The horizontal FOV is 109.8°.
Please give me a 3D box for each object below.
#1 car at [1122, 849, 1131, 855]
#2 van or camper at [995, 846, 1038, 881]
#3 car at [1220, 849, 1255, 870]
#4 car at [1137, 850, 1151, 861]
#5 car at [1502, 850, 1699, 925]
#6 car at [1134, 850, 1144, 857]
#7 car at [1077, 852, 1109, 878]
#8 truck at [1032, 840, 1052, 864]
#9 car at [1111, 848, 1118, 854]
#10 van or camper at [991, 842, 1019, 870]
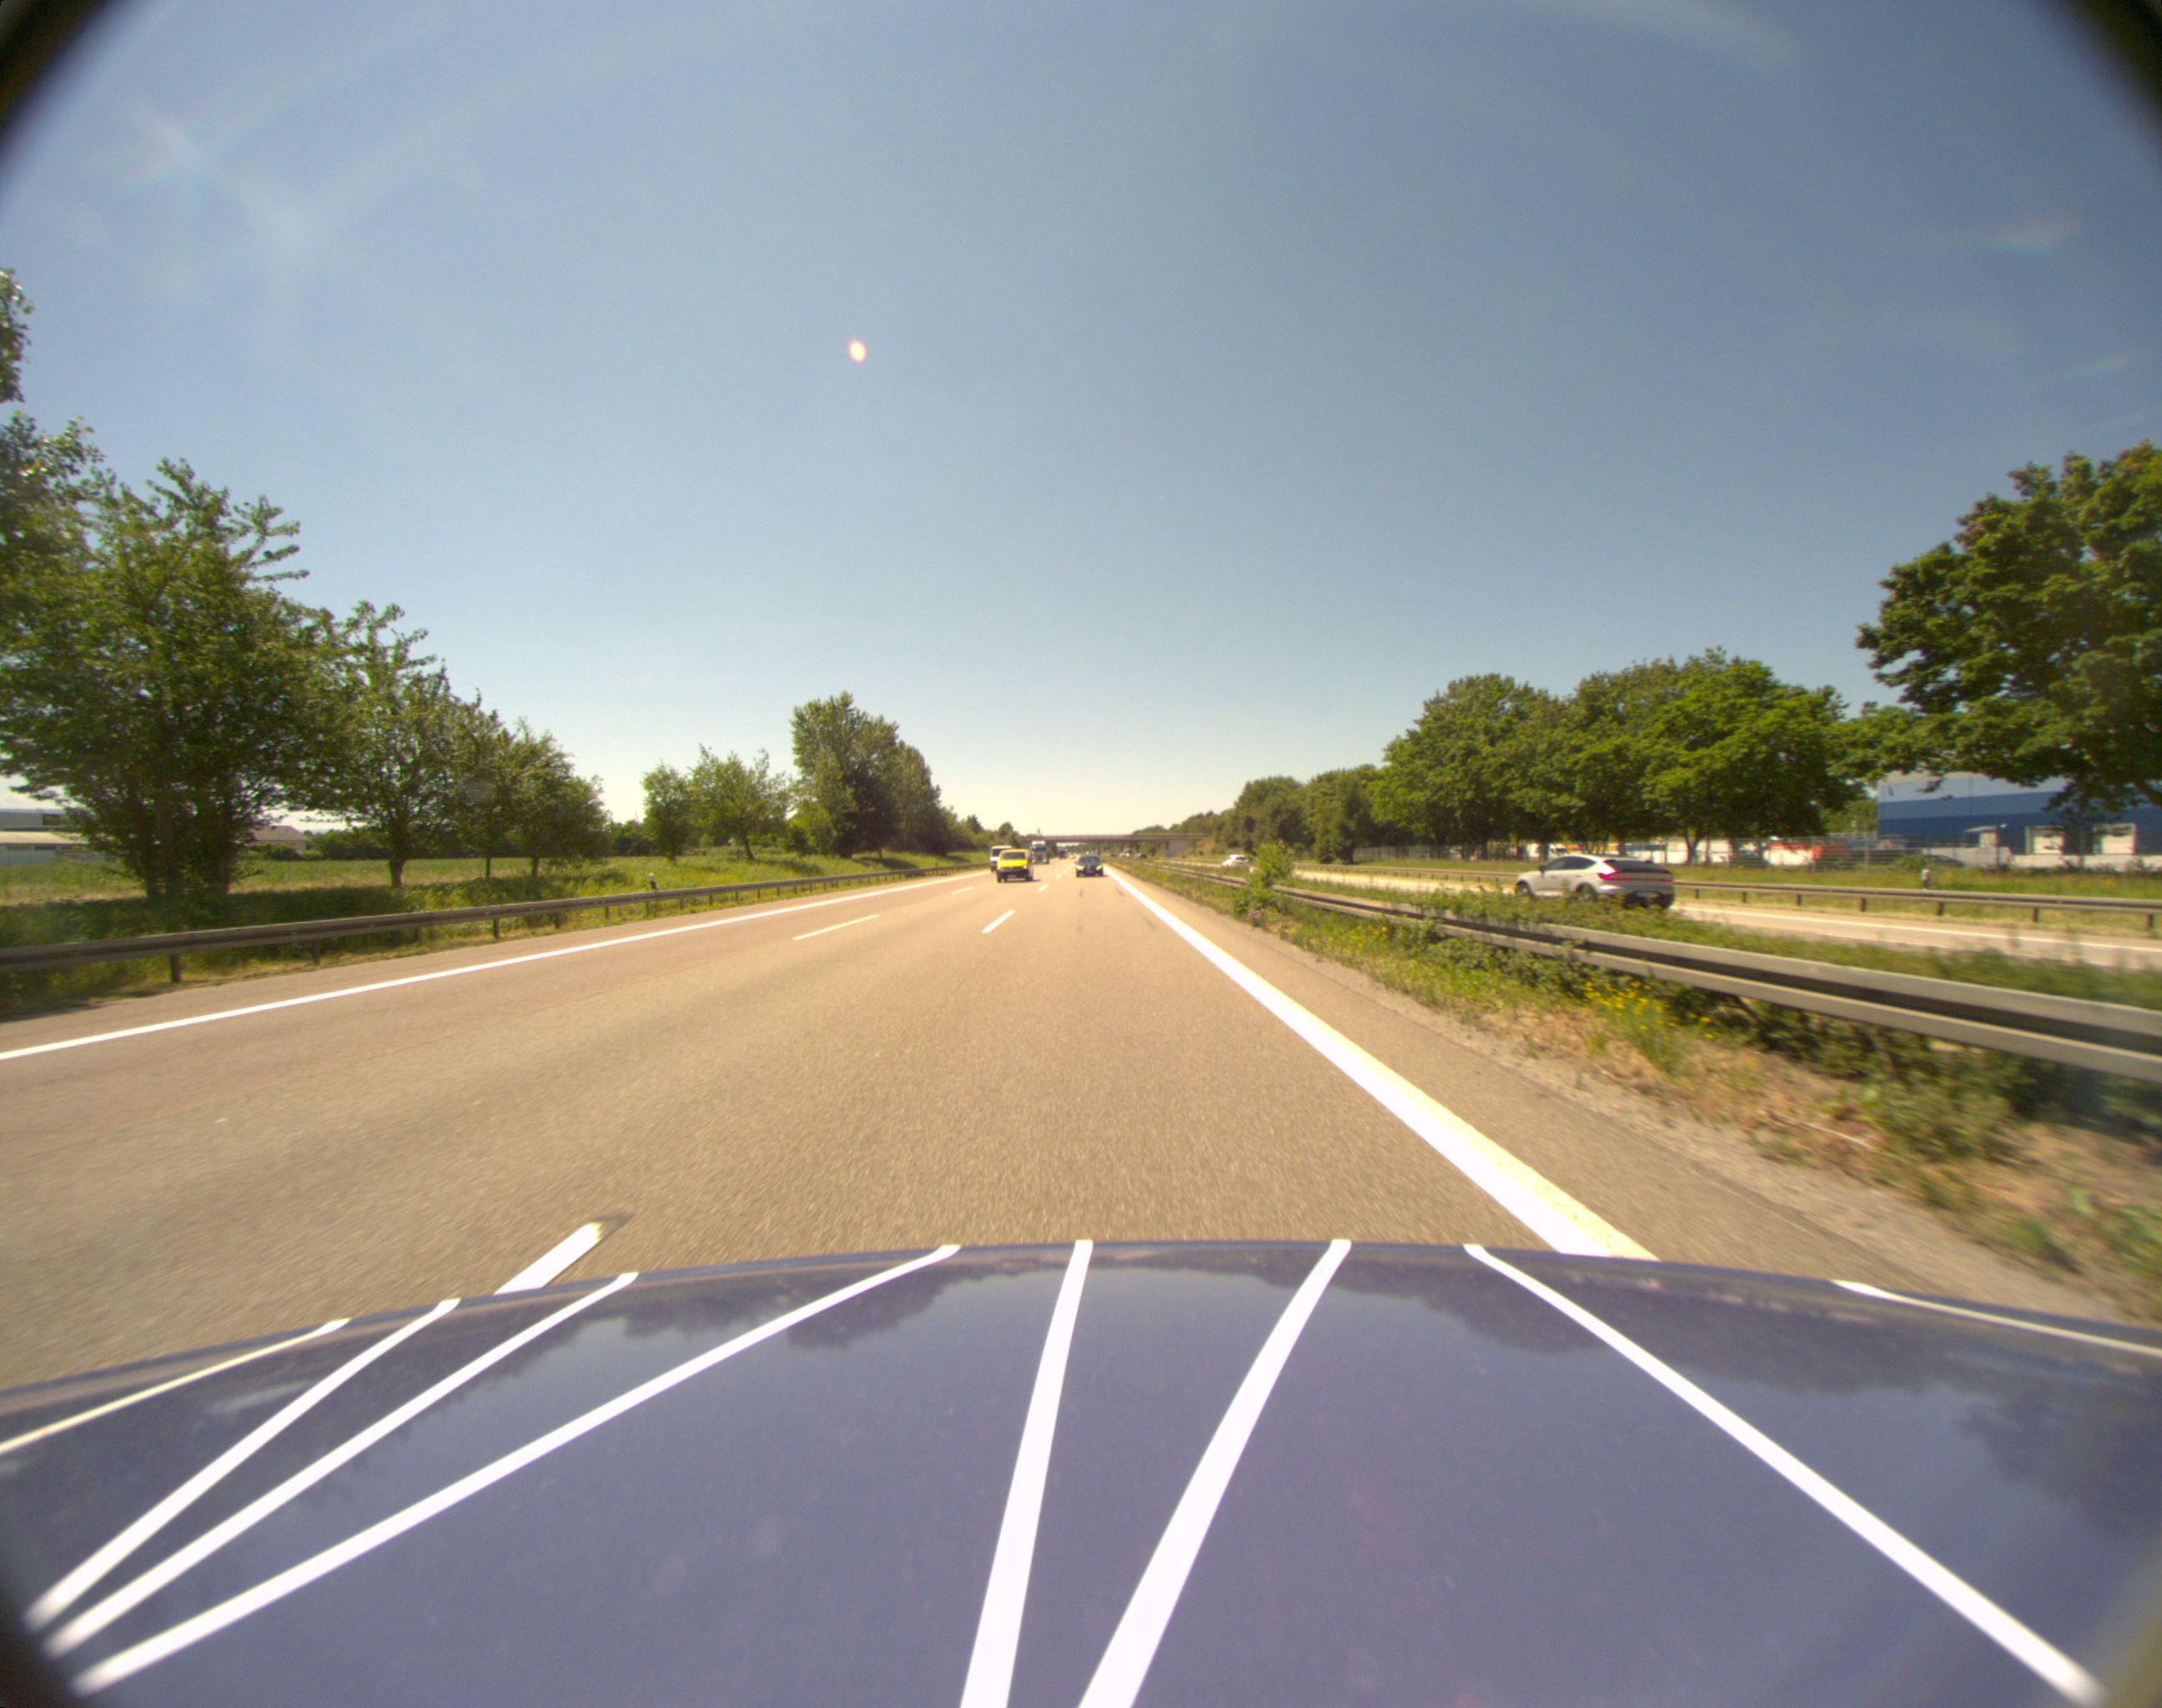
[{"bbox_3d":[11.564,-0.502,193.989,1.998,1.630,4.572,-3,0,1],"label":"car"},{"bbox_3d":[-3.890,0.532,46.731,2.063,1.992,5.883,-1,0,1],"label":"van or camper"},{"bbox_3d":[13.673,0.456,66.614,1.999,1.630,4.858,3,1,0],"label":"car"},{"bbox_3d":[10.876,0.232,130.928,1.998,1.630,4.858,3,1,1],"label":"car"},{"bbox_3d":[13.273,0.751,19.861,1.850,1.672,4.814,1,1,1],"label":"car"},{"bbox_3d":[13.979,-0.122,182.767,1.877,1.783,4.424,-3,1,1],"label":"car"},{"bbox_3d":[0.710,0.640,48.322,1.894,1.541,4.038,1,0,-1],"label":"car"},{"bbox_3d":[-6.763,-0.404,134.627,2.806,4.022,13.352,-3,0,0],"label":"truck"},{"bbox_3d":[10.772,-0.918,245.494,1.998,1.875,5.647,-3,0,0],"label":"car"},{"bbox_3d":[-7.679,0.156,77.269,2.119,2.687,6.366,-2,0,0],"label":"van or camper"}]
